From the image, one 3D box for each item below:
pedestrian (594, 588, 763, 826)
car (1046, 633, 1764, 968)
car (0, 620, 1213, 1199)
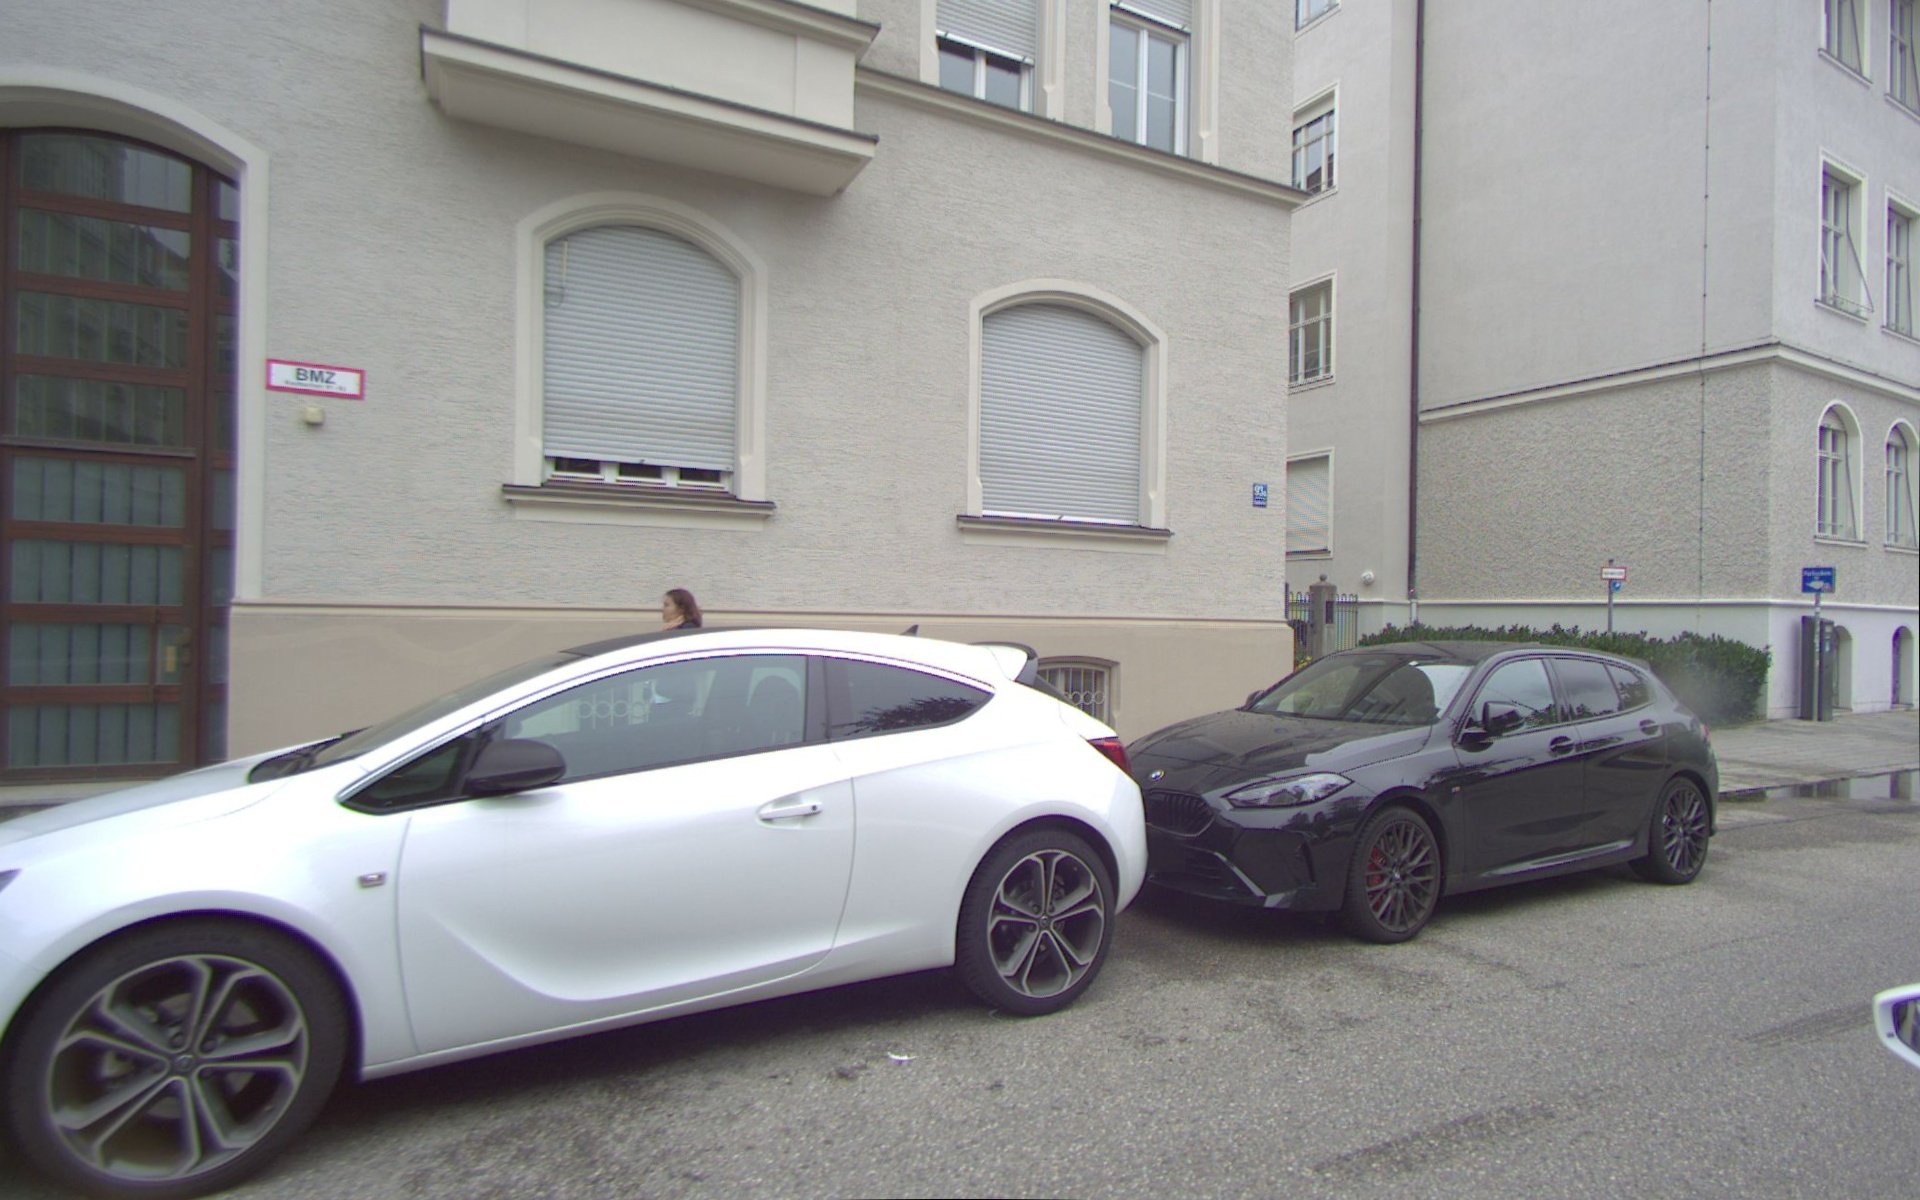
[{"bbox_3d":[-2.115,0.750,7.508,1.039,1.629,0.870,2,-1,-28],"label":"pedestrian"},{"bbox_3d":[2.841,0.947,6.220,4.326,1.431,1.848,2,-2,-29],"label":"car"},{"bbox_3d":[-1.268,0.852,3.948,4.326,1.483,1.848,2,-2,-29],"label":"car"}]
